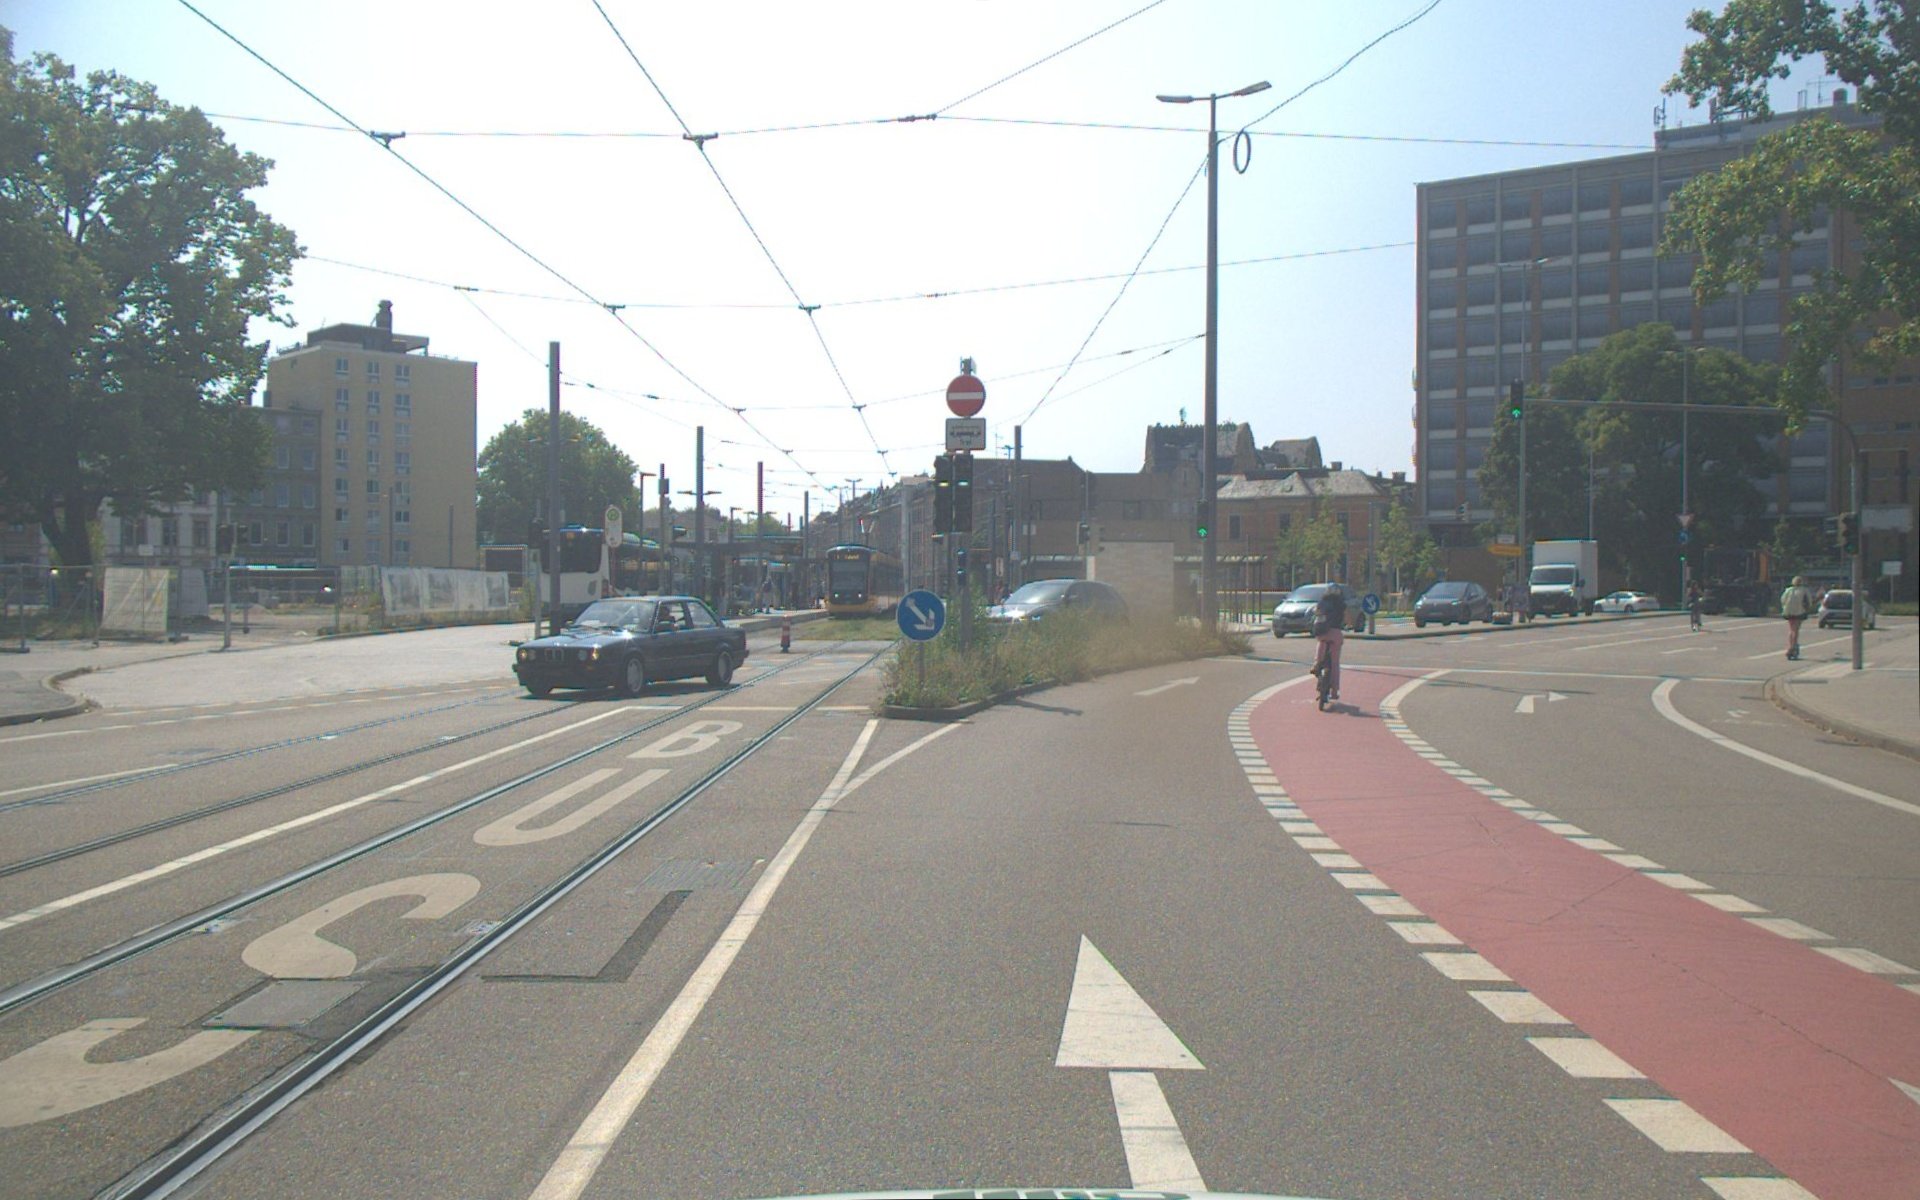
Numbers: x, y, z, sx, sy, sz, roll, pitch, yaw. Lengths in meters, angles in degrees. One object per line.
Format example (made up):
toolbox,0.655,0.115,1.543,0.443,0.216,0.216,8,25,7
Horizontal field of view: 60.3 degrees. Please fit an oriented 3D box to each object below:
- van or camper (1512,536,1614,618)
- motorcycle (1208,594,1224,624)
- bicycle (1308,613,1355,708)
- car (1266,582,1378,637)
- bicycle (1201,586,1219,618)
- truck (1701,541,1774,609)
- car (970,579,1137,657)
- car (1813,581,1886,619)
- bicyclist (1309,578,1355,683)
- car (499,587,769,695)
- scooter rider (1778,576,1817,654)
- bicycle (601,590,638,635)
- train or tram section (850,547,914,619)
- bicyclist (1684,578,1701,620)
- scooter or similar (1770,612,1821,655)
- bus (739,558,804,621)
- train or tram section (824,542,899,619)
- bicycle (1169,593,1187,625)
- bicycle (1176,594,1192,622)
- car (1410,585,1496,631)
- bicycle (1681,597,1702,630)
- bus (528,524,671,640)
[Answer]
van or camper,25.992,-0.953,71.152,2.359,3.364,7.165,0,0,35
motorcycle,10.936,0.369,70.586,0.591,1.232,2.255,0,0,11
bicycle,4.966,0.776,22.057,0.591,1.183,1.812,0,0,13
car,10.737,0.260,48.910,1.623,1.557,4.308,0,0,37
bicycle,9.842,0.072,65.073,0.591,1.232,1.812,0,0,11
truck,36.669,-1.136,77.923,2.646,3.042,5.955,1,0,30
car,2.165,0.365,37.031,1.740,1.639,4.662,0,0,32
car,33.957,0.002,63.106,1.813,1.416,3.982,0,0,38
bicyclist,4.928,0.392,21.901,0.590,1.358,0.660,0,0,13
car,-4.573,0.524,23.959,1.653,1.402,4.618,0,0,21
scooter rider,19.759,0.352,39.027,0.750,1.806,0.552,0,0,38
bicycle,-9.682,0.341,47.112,0.594,1.244,1.706,0,0,4
train or tram section,-4.785,-1.008,105.030,2.827,4.139,19.143,1,0,1
bicyclist,25.321,-0.045,57.169,0.442,1.446,0.494,0,0,34
scooter or similar,19.677,0.775,38.946,0.760,0.942,1.612,1,1,39
bus,-12.007,-0.642,106.142,2.653,3.792,10.421,1,0,2
train or tram section,-4.940,-0.937,86.506,2.798,3.610,17.742,1,0,0
bicycle,8.572,0.335,65.132,0.591,1.232,1.812,0,0,11
bicycle,9.765,0.342,72.091,0.591,1.232,1.812,0,0,11
car,17.327,0.252,58.028,1.667,1.557,4.168,0,0,35
bicycle,25.239,0.456,57.045,0.436,1.136,1.442,0,0,34
bus,-12.938,-0.614,60.466,2.897,3.841,10.596,1,0,0
